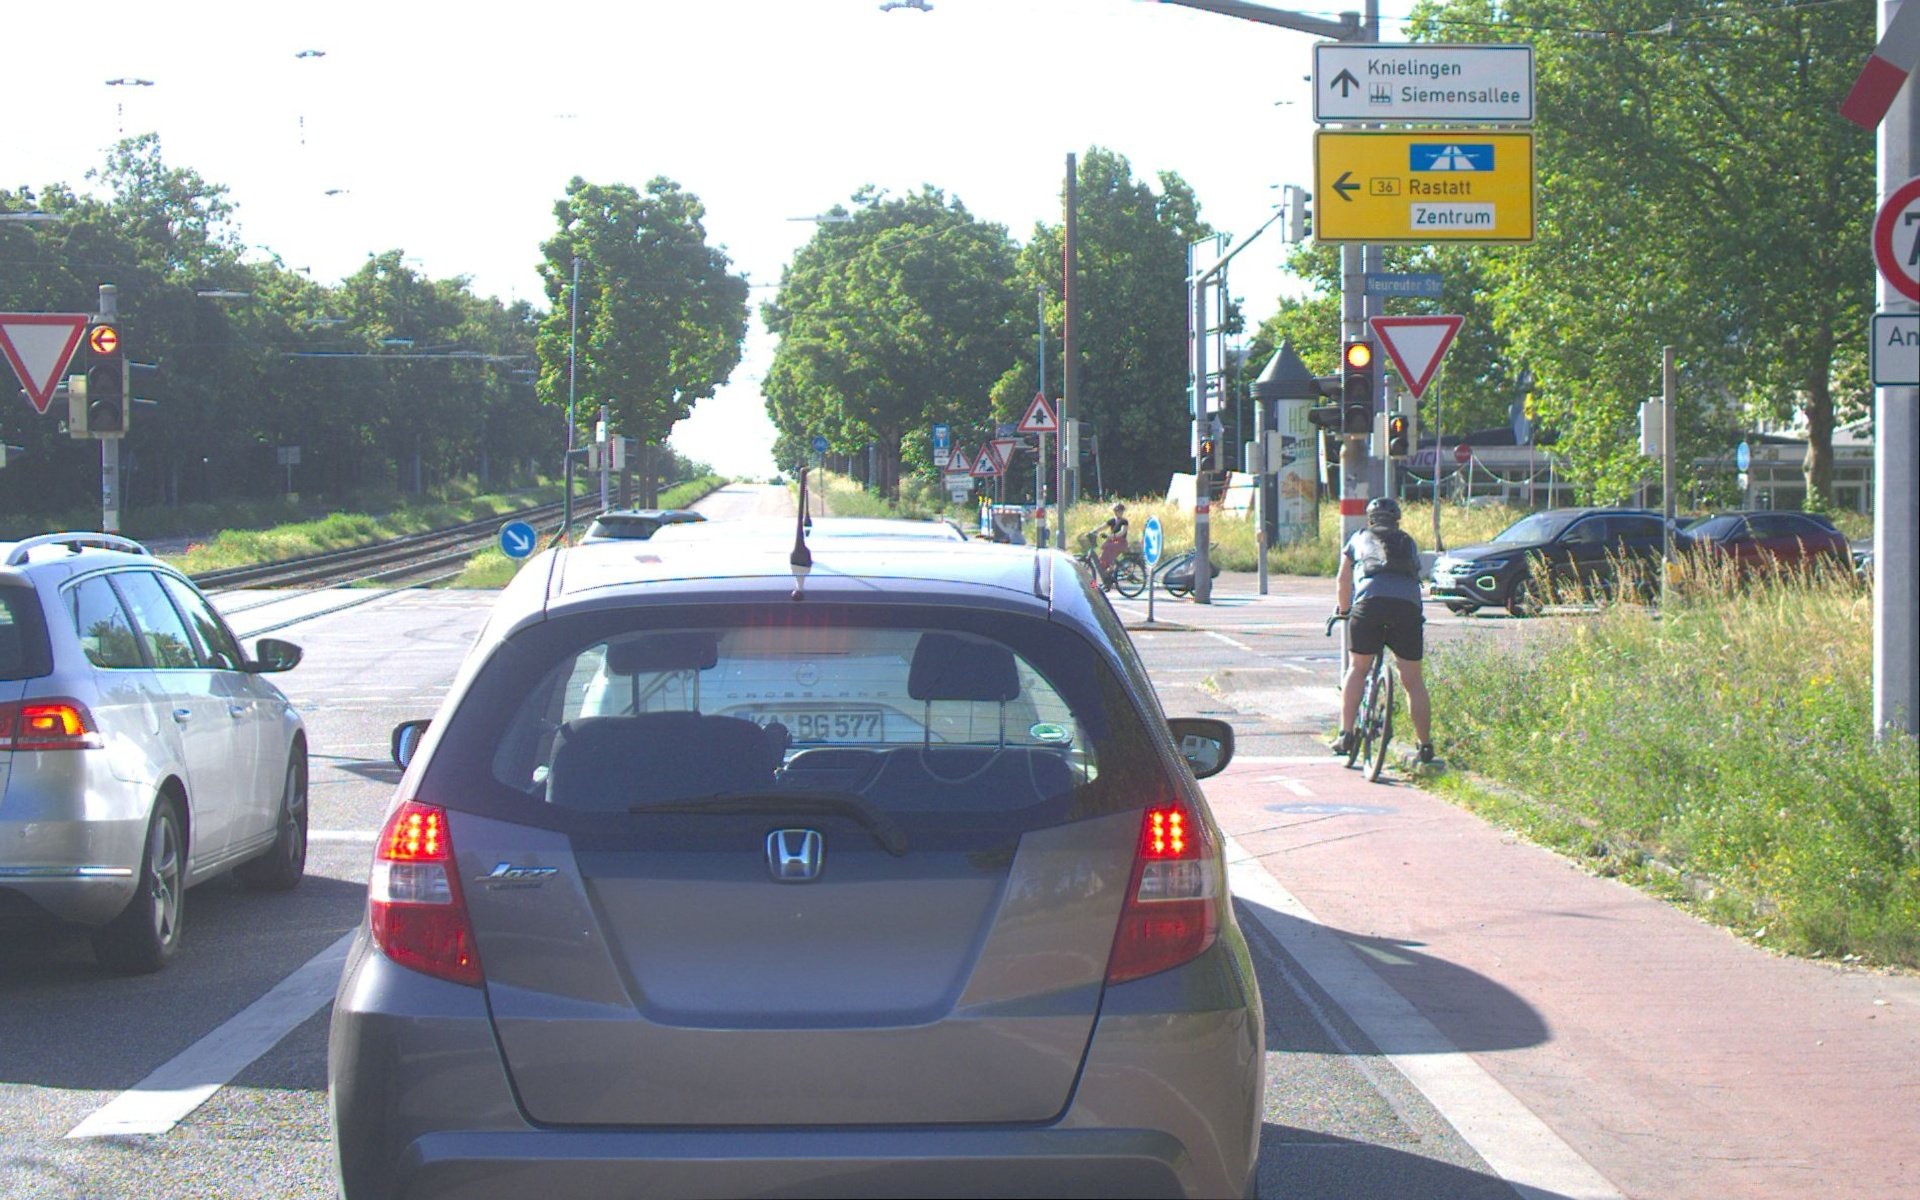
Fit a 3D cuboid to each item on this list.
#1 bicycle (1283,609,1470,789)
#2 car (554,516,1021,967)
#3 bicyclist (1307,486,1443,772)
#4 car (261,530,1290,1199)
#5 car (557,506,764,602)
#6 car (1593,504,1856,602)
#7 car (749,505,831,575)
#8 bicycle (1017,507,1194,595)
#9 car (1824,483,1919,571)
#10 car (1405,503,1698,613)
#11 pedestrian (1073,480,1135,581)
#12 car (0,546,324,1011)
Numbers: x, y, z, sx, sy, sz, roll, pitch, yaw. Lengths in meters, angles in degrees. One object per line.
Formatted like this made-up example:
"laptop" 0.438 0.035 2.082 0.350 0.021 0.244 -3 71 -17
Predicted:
"bicycle" 2.537 0.574 21.270 0.722 0.985 2.876 1 1 -1
"car" -0.641 0.448 14.016 1.611 1.557 4.288 0 1 -1
"bicyclist" 2.548 0.171 21.184 0.666 1.710 0.948 1 0 -1
"car" -0.386 0.581 7.381 1.668 1.457 3.587 0 1 -3
"car" -4.710 -0.746 54.651 1.711 1.473 3.996 0 1 21
"car" 12.457 -0.778 55.989 3.986 1.525 1.606 -1 1 -23
"car" -3.435 -1.220 69.894 1.523 1.374 3.676 0 1 -1
"bicycle" 2.672 -0.905 62.907 3.203 1.569 0.821 -1 1 -25
"car" 17.833 -1.352 63.007 3.742 1.564 1.491 -1 1 -23
"car" 8.679 -0.635 50.478 3.970 1.539 1.593 -1 1 -20
"pedestrian" 2.628 -1.271 62.891 0.852 1.830 0.791 -1 1 -26
"car" -3.524 0.528 12.799 1.619 1.452 4.085 1 1 -1
